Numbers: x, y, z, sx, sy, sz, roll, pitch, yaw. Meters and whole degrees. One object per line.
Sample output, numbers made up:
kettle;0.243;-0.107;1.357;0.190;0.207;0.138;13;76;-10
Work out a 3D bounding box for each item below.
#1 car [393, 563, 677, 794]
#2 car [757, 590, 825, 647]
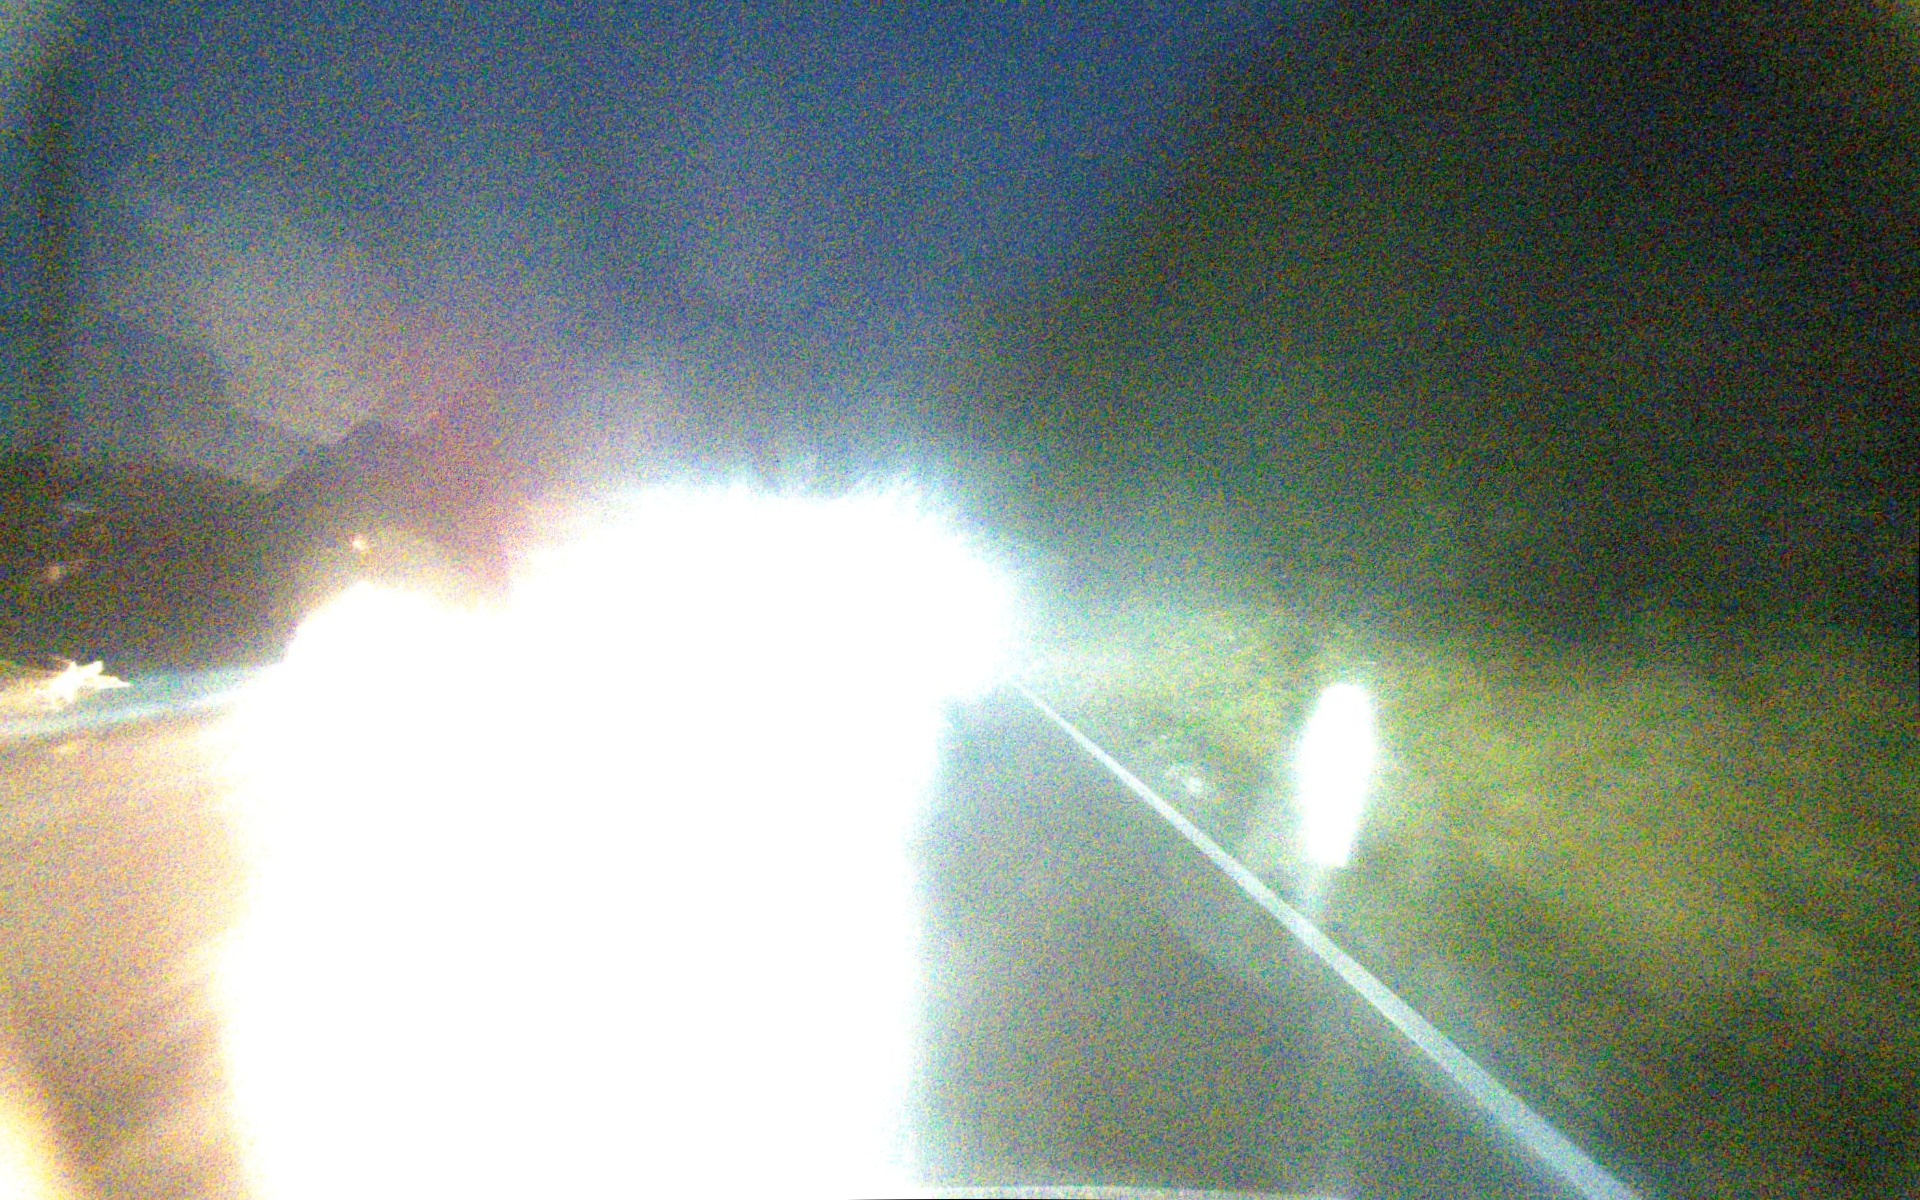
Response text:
car;-3.470;0.569;14.096;1.453;1.644;3.560;3;0;-1
car;-5.436;0.561;53.615;1.887;1.733;3.998;1;0;-2
